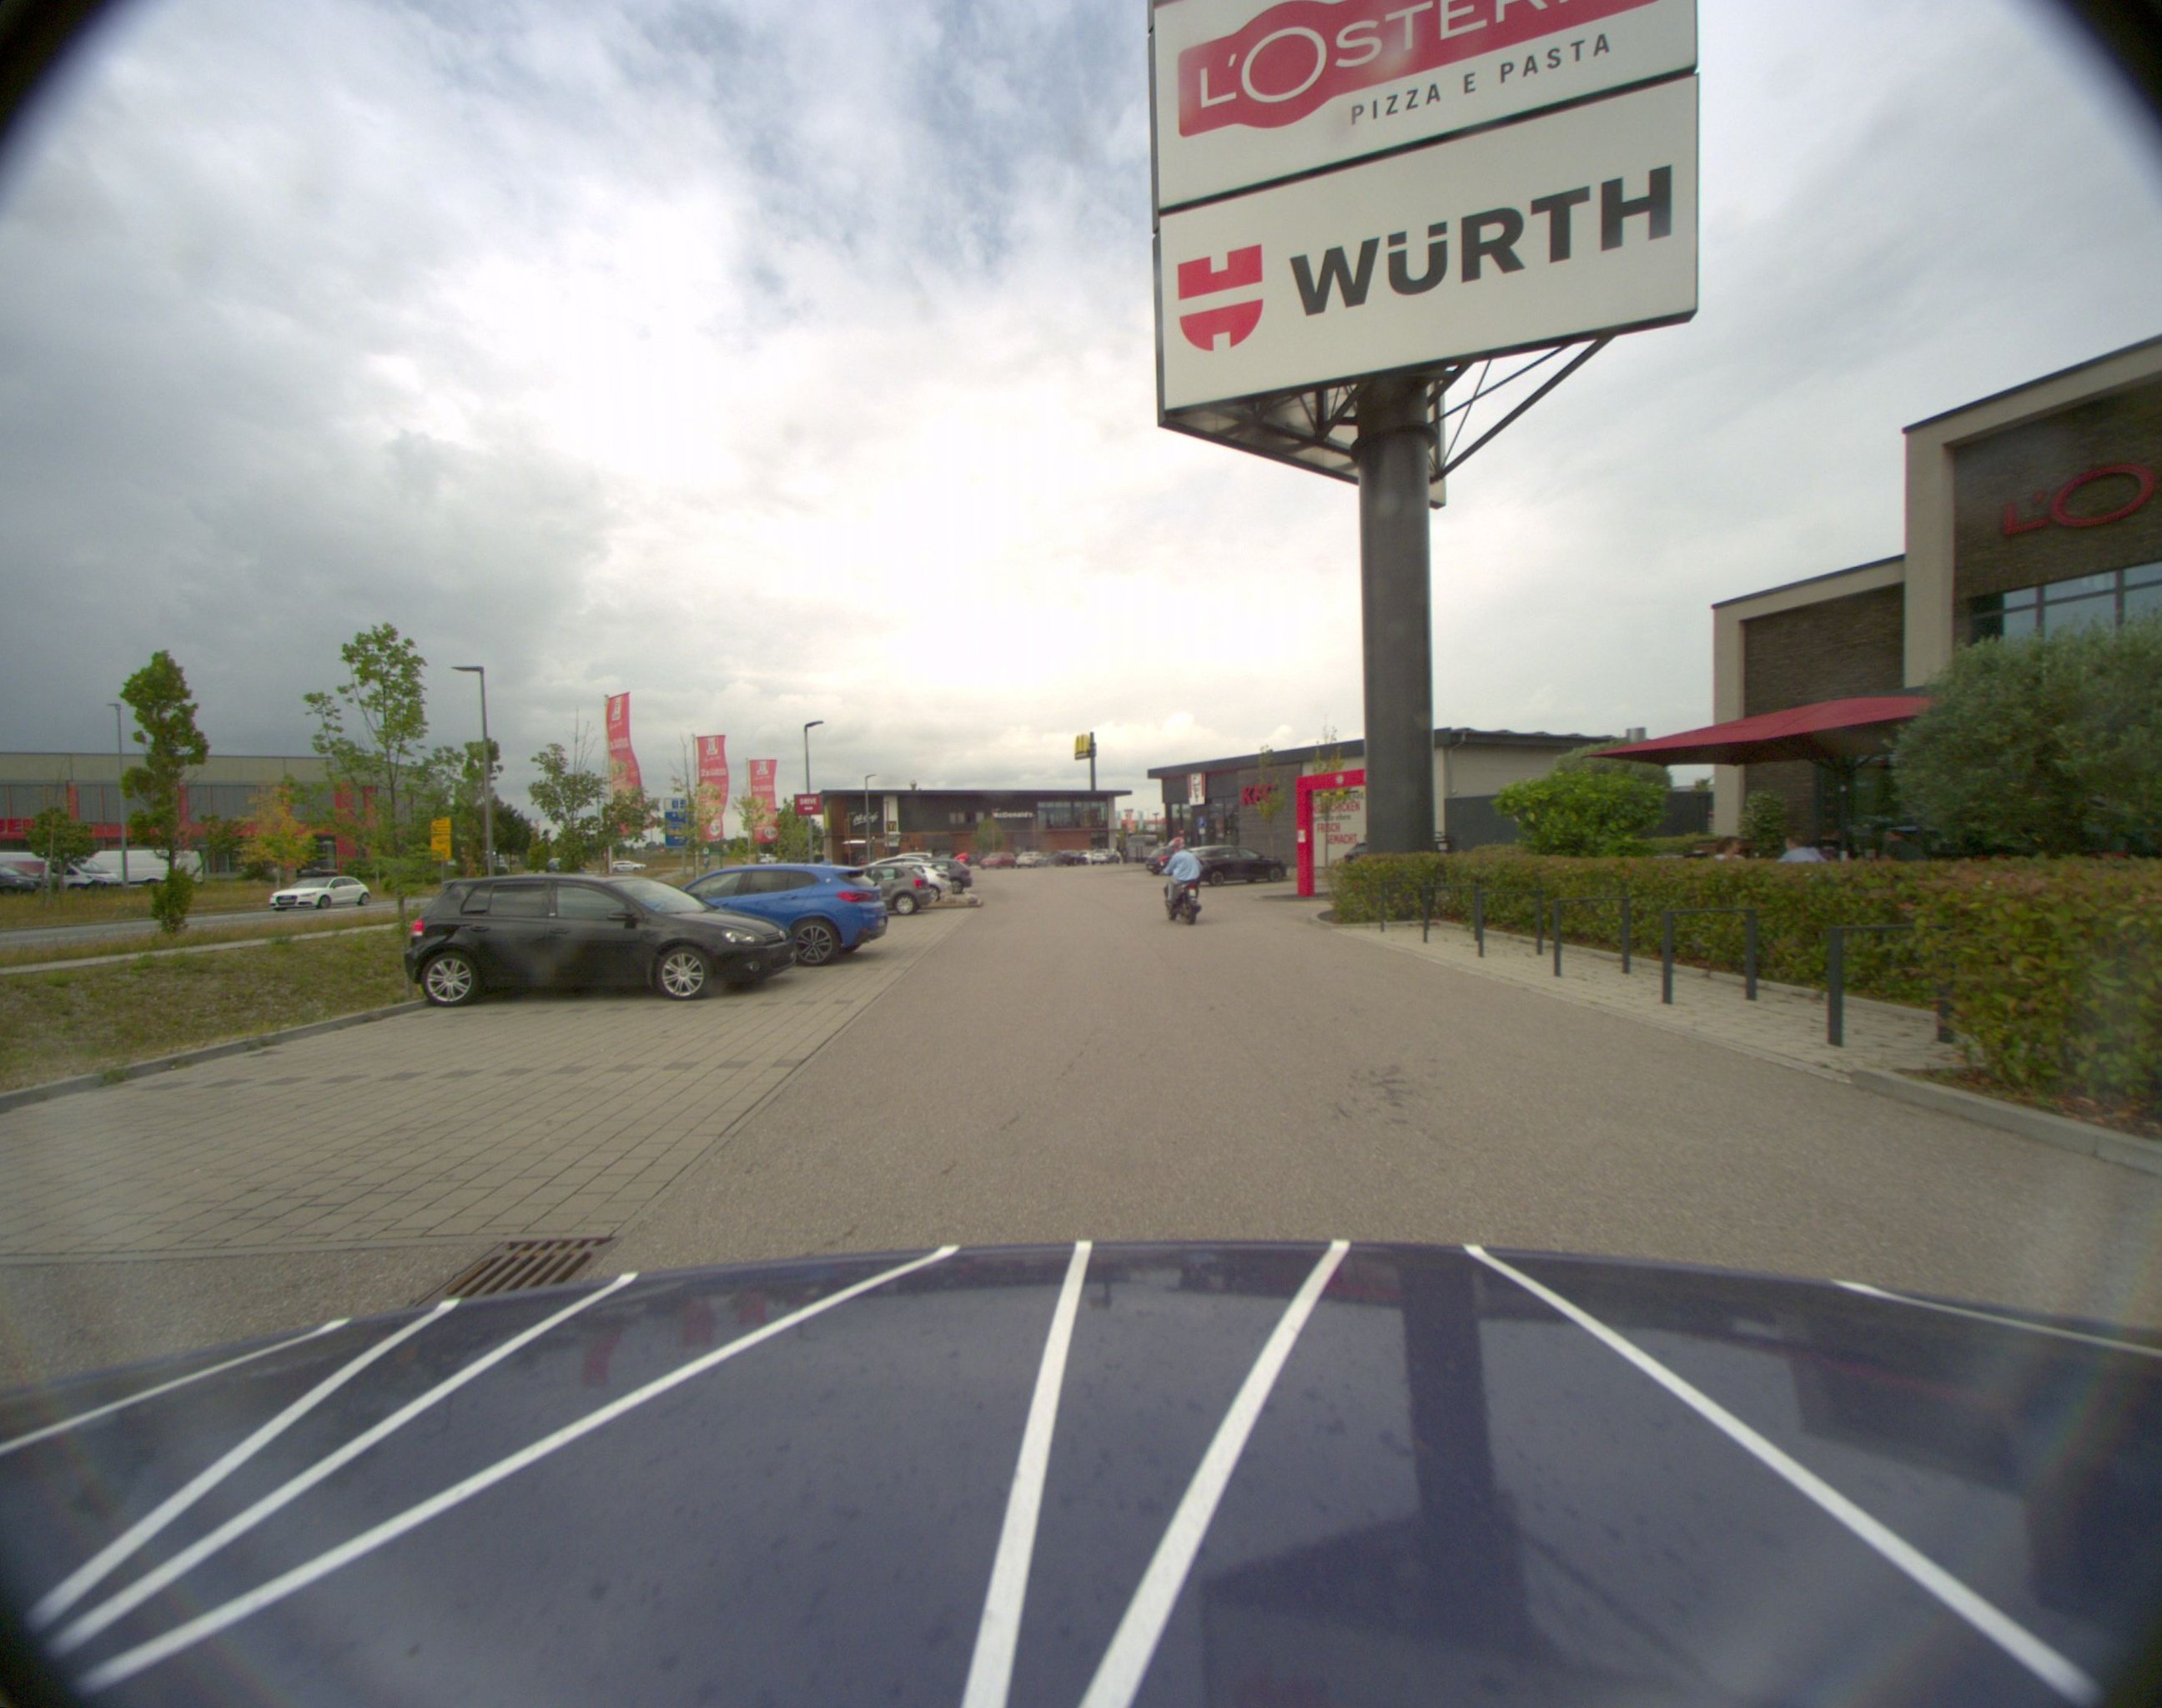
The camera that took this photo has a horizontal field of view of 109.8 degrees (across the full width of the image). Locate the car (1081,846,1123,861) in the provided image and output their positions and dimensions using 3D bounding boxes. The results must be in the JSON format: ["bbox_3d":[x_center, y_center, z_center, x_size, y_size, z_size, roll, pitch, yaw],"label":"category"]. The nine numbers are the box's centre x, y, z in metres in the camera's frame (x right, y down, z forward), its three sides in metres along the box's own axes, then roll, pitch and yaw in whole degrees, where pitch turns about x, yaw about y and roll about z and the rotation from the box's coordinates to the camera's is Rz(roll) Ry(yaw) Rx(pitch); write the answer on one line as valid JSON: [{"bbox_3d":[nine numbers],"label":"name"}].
[{"bbox_3d":[2.244,0.000,80.332,4.103,1.458,1.783,-2,-1,17],"label":"car"}]

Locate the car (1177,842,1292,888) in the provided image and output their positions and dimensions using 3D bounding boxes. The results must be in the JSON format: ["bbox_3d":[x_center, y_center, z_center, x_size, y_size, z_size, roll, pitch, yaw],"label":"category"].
[{"bbox_3d":[6.016,0.383,29.774,4.127,1.520,1.738,-3,2,-22],"label":"car"}]

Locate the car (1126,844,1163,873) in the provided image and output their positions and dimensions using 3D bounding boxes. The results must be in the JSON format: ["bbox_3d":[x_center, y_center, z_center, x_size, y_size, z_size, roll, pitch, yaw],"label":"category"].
[{"bbox_3d":[6.090,0.354,71.864,2.069,2.538,7.021,-2,0,17],"label":"car"}]

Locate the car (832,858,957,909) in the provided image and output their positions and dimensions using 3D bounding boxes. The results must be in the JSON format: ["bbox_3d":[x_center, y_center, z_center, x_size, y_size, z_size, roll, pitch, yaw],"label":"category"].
[{"bbox_3d":[-6.367,0.990,26.379,3.939,1.404,1.838,-3,1,-7],"label":"car"}]

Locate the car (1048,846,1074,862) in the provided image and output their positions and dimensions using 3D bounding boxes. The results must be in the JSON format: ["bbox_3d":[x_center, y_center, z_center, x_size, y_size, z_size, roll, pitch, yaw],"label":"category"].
[{"bbox_3d":[-2.441,-0.008,92.441,1.894,1.653,4.262,0,3,17],"label":"car"}]

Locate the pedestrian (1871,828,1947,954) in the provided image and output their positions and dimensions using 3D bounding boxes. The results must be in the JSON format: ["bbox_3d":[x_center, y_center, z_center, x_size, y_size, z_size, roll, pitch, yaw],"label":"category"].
[{"bbox_3d":[11.929,0.505,10.952,0.744,1.738,0.702,-1,1,-42],"label":"pedestrian"}]

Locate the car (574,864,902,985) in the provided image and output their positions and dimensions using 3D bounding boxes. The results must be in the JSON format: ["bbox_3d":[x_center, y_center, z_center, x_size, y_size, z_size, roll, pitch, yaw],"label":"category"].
[{"bbox_3d":[-5.132,1.023,11.864,4.213,1.535,1.864,-2,1,-2],"label":"car"}]

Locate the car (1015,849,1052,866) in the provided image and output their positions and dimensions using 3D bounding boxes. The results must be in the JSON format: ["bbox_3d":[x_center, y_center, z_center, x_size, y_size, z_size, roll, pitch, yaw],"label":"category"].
[{"bbox_3d":[-4.191,0.269,67.857,1.750,1.404,4.465,-2,0,16],"label":"car"}]

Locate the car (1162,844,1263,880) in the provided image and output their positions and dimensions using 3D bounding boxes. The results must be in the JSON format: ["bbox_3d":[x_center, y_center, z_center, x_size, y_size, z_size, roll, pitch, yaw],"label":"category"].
[{"bbox_3d":[6.138,0.360,35.440,4.184,1.477,1.996,-2,0,-22],"label":"car"}]

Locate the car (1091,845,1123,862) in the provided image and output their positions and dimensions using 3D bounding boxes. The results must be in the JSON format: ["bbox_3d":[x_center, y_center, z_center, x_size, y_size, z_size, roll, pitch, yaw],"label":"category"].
[{"bbox_3d":[2.483,-0.068,71.511,1.683,1.443,4.006,-2,0,21],"label":"car"}]

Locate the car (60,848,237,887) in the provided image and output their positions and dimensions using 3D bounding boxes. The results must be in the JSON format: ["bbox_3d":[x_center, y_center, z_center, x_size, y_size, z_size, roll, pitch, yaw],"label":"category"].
[{"bbox_3d":[-57.330,0.776,46.922,6.513,2.255,2.341,0,1,-23],"label":"car"}]

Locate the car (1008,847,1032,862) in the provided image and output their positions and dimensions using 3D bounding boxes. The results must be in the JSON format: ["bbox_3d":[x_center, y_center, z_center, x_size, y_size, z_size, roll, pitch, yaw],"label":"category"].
[{"bbox_3d":[-7.683,0.053,95.512,1.755,1.743,3.991,0,1,-25],"label":"car"}]

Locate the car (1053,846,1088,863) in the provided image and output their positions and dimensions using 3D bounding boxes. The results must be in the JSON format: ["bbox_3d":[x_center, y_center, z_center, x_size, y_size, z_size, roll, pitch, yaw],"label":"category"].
[{"bbox_3d":[-0.934,0.024,69.007,1.684,1.454,4.413,-2,0,19],"label":"car"}]

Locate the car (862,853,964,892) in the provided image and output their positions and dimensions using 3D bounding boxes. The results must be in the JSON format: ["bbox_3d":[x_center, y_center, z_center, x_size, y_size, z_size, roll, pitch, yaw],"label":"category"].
[{"bbox_3d":[-7.990,0.854,36.284,4.547,1.532,1.923,-4,1,-12],"label":"car"}]

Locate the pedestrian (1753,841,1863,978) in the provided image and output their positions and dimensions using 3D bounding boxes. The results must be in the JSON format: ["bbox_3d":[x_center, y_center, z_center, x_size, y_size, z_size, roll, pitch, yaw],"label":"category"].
[{"bbox_3d":[9.528,0.696,9.987,0.703,1.738,0.742,0,1,-4],"label":"pedestrian"}]

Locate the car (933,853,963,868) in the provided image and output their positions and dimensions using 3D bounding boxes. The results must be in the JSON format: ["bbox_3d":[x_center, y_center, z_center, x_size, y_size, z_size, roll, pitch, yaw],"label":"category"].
[{"bbox_3d":[-15.199,0.711,87.096,1.747,1.575,3.909,0,1,16],"label":"car"}]

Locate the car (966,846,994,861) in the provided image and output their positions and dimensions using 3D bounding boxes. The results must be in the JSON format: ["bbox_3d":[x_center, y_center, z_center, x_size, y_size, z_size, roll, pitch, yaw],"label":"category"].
[{"bbox_3d":[-11.768,0.001,88.638,1.996,1.739,4.004,0,0,13],"label":"car"}]

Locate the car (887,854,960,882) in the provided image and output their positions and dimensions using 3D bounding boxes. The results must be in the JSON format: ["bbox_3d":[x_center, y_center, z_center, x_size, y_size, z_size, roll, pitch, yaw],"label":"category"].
[{"bbox_3d":[-9.561,0.830,46.184,4.073,1.404,1.885,-4,1,-19],"label":"car"}]

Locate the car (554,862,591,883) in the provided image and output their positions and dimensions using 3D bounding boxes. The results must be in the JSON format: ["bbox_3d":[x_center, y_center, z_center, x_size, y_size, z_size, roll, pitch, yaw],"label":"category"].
[{"bbox_3d":[-45.758,1.627,68.458,2.002,1.696,3.991,-1,2,-22],"label":"car"}]

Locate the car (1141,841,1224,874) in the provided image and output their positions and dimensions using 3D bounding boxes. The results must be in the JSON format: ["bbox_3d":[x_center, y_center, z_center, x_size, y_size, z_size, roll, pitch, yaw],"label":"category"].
[{"bbox_3d":[5.419,0.171,40.606,3.943,1.478,1.755,-4,1,-22],"label":"car"}]

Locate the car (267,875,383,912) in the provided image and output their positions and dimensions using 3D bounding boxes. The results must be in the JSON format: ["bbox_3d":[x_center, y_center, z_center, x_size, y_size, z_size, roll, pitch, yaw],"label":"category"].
[{"bbox_3d":[-33.844,1.727,34.181,1.756,1.482,4.125,-2,-1,-14],"label":"car"}]

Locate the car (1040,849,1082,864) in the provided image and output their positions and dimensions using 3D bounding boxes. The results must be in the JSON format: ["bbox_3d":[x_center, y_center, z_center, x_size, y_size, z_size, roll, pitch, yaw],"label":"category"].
[{"bbox_3d":[-2.068,0.264,78.871,3.990,1.501,1.772,0,1,22],"label":"car"}]

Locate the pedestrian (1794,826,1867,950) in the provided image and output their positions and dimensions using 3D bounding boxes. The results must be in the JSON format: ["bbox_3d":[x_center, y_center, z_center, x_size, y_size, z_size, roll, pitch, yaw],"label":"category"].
[{"bbox_3d":[11.006,0.474,11.163,0.744,1.738,0.702,-1,1,-42],"label":"pedestrian"}]

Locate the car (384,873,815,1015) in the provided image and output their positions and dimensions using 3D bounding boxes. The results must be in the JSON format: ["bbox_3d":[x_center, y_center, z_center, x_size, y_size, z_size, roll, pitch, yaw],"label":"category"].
[{"bbox_3d":[-5.589,1.010,9.228,4.072,1.451,1.776,-1,0,0],"label":"car"}]

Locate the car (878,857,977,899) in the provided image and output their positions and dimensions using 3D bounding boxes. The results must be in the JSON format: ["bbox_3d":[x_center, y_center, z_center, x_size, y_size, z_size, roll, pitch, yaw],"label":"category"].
[{"bbox_3d":[-6.292,0.957,31.323,3.808,1.404,1.737,-4,1,-10],"label":"car"}]

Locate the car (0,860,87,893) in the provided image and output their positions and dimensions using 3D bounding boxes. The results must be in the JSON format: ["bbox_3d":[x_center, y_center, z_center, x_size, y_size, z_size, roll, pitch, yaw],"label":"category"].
[{"bbox_3d":[-55.429,1.161,38.969,5.075,1.629,2.074,0,0,-21],"label":"car"}]

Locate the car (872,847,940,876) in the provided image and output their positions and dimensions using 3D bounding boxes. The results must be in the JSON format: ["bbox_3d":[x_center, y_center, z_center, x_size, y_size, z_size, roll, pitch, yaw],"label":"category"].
[{"bbox_3d":[-12.303,0.494,53.340,4.375,1.703,1.989,-4,1,-19],"label":"car"}]

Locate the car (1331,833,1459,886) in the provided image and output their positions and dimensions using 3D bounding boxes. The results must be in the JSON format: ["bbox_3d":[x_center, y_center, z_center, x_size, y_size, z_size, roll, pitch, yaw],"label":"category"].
[{"bbox_3d":[10.837,0.158,26.190,4.004,1.587,1.733,-3,2,-22],"label":"car"}]

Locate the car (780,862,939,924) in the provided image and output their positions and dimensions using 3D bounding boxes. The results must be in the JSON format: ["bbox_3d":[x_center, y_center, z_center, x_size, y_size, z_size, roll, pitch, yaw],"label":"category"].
[{"bbox_3d":[-6.181,1.071,21.581,3.998,1.420,1.727,-3,1,-4],"label":"car"}]

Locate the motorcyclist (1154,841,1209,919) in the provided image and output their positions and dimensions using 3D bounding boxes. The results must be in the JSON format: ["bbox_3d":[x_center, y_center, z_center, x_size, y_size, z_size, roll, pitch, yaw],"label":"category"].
[{"bbox_3d":[1.992,0.502,15.173,0.830,1.480,0.941,-3,1,-5],"label":"motorcyclist"}]

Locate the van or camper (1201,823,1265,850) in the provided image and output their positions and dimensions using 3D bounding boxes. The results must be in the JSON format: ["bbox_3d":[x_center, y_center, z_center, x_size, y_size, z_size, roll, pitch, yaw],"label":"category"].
[{"bbox_3d":[16.888,-1.878,84.715,6.558,2.685,2.176,-2,0,25],"label":"van or camper"}]

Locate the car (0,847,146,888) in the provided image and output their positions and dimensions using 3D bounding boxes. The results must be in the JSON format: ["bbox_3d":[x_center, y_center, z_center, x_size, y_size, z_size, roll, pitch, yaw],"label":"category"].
[{"bbox_3d":[-56.753,0.732,41.912,6.065,2.201,2.412,0,0,-21],"label":"car"}]

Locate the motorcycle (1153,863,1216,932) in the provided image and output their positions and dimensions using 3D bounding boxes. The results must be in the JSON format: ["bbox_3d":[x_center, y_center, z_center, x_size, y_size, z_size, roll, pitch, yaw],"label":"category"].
[{"bbox_3d":[2.030,0.826,15.153,0.794,1.201,1.920,-3,1,-5],"label":"motorcycle"}]

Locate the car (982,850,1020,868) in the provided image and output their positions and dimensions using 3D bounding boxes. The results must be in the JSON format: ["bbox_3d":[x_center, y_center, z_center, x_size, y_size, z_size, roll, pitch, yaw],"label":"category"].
[{"bbox_3d":[-7.019,0.416,67.127,1.683,1.455,4.006,-2,0,21],"label":"car"}]
